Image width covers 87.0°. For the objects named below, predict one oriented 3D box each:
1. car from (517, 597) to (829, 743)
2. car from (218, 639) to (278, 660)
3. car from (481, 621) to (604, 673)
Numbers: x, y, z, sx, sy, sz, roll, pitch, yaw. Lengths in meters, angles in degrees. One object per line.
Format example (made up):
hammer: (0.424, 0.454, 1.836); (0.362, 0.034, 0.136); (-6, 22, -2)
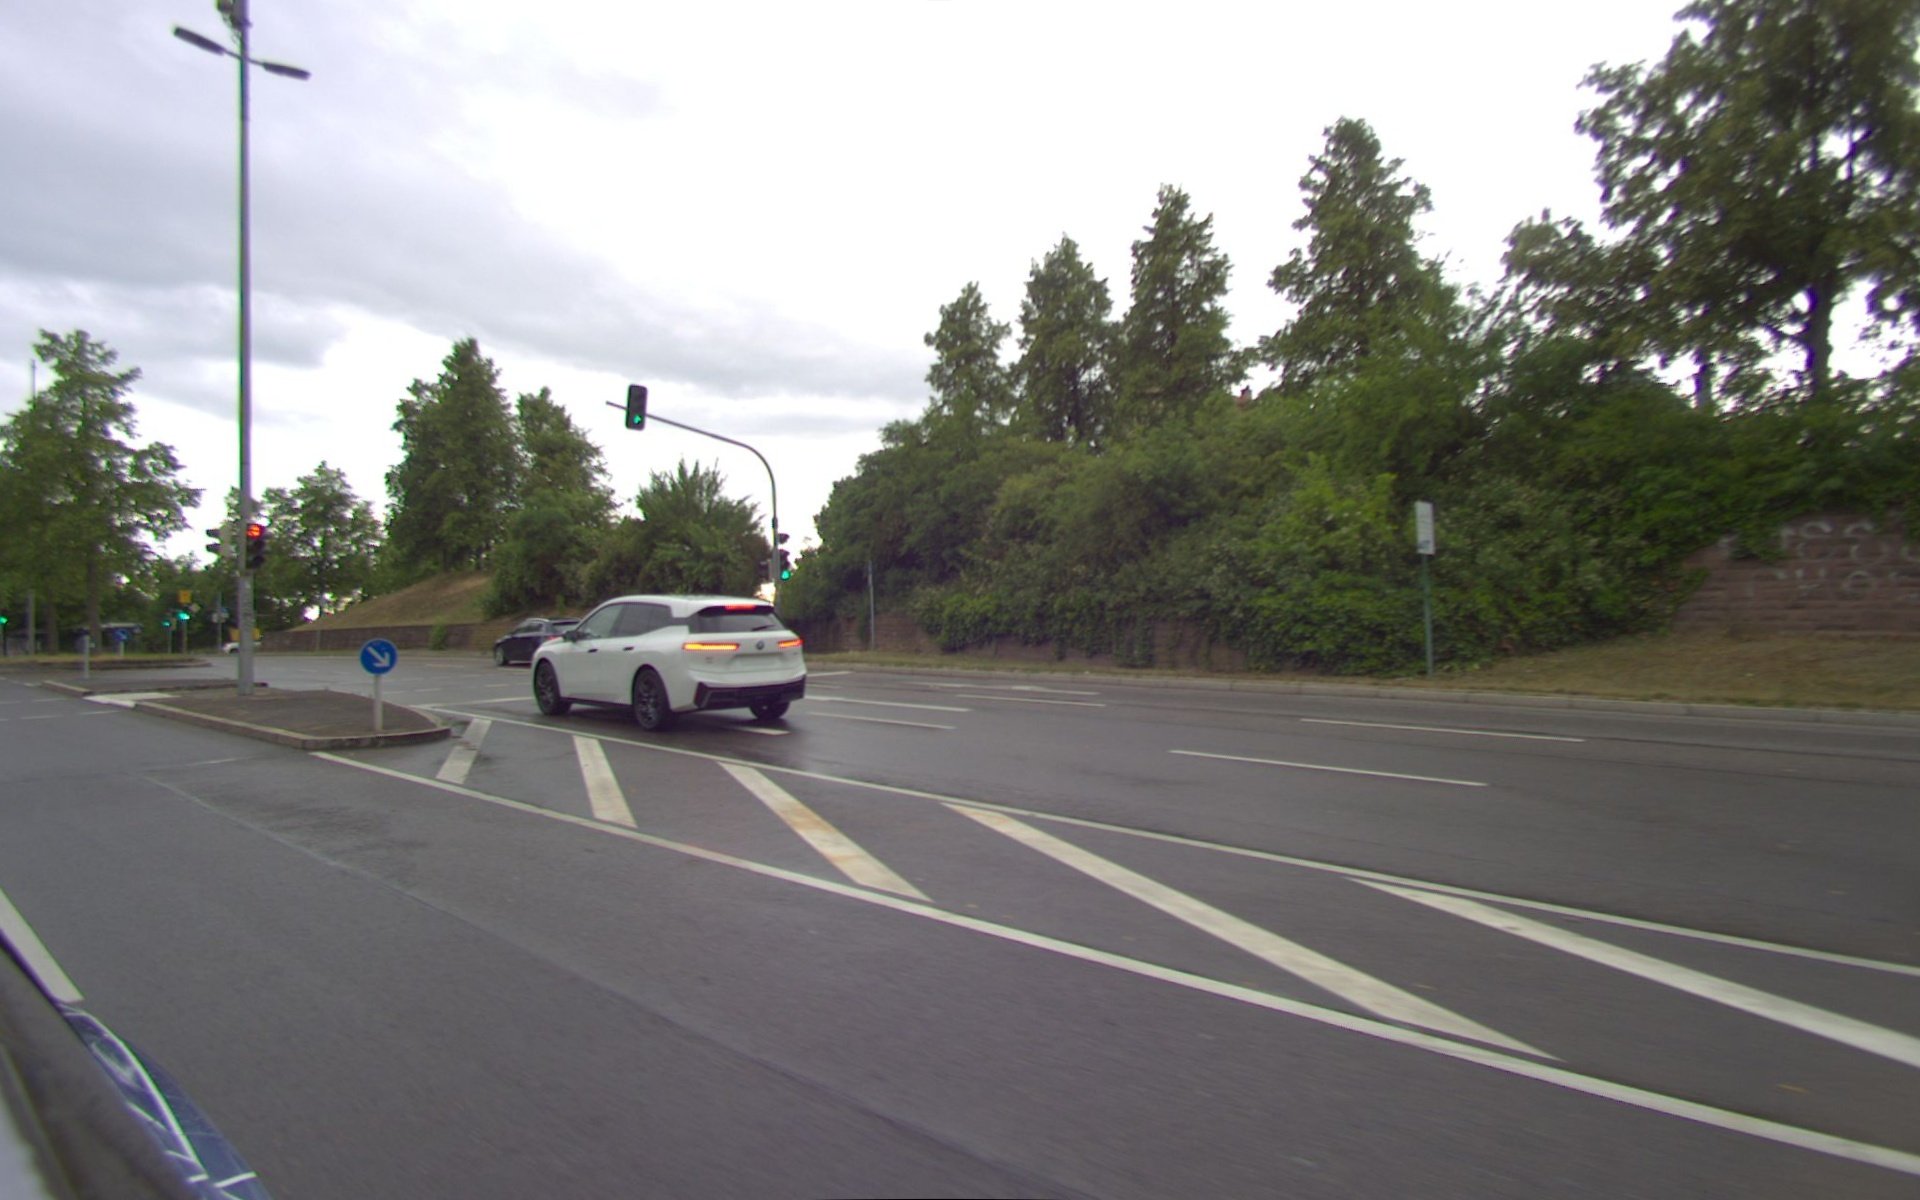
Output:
car: (-4.123, 0.848, 13.937); (5.007, 1.648, 1.923); (-2, -1, 45)
car: (-54.671, 3.790, 77.756); (3.640, 1.489, 1.764); (0, -2, -41)
car: (-12.748, 1.379, 30.764); (4.455, 1.448, 1.799); (-2, -1, 44)
